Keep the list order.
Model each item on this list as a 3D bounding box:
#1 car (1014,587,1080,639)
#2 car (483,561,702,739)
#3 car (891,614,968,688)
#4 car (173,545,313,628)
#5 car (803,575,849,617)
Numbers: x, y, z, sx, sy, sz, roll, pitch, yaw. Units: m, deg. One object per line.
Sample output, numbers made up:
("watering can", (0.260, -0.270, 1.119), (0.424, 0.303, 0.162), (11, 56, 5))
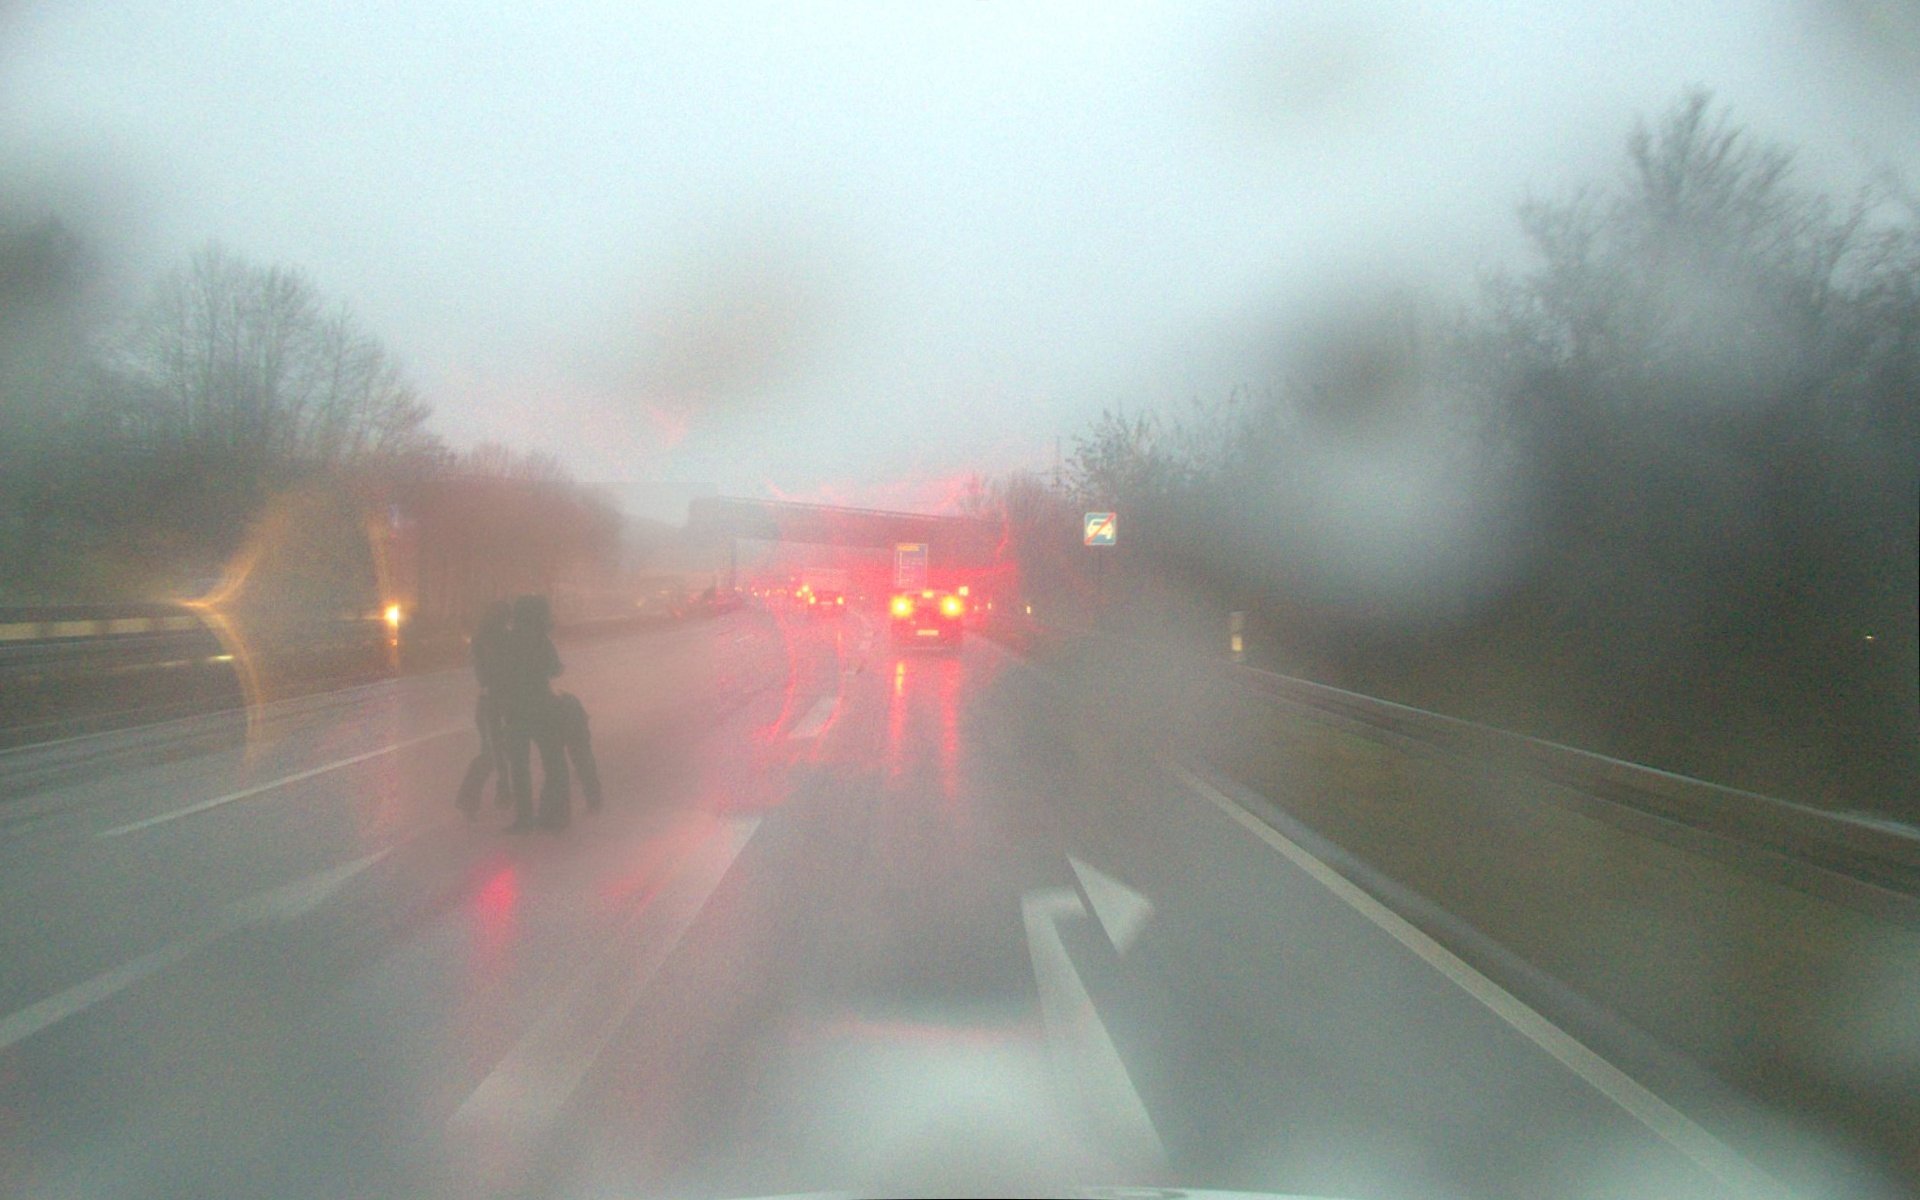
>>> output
("car", (2.476, 0.375, 47.678), (1.649, 1.443, 3.873), (0, -1, -1))
("car", (-3.834, 0.460, 17.880), (1.956, 1.694, 3.993), (0, 0, -8))
("car", (-0.696, 1.190, 39.760), (1.696, 1.454, 3.766), (2, 2, 0))
("car", (-19.205, -0.304, 44.495), (1.953, 2.049, 3.999), (2, -1, -1))
("car", (-5.845, -0.214, 72.544), (1.841, 1.645, 3.873), (2, 2, -3))
